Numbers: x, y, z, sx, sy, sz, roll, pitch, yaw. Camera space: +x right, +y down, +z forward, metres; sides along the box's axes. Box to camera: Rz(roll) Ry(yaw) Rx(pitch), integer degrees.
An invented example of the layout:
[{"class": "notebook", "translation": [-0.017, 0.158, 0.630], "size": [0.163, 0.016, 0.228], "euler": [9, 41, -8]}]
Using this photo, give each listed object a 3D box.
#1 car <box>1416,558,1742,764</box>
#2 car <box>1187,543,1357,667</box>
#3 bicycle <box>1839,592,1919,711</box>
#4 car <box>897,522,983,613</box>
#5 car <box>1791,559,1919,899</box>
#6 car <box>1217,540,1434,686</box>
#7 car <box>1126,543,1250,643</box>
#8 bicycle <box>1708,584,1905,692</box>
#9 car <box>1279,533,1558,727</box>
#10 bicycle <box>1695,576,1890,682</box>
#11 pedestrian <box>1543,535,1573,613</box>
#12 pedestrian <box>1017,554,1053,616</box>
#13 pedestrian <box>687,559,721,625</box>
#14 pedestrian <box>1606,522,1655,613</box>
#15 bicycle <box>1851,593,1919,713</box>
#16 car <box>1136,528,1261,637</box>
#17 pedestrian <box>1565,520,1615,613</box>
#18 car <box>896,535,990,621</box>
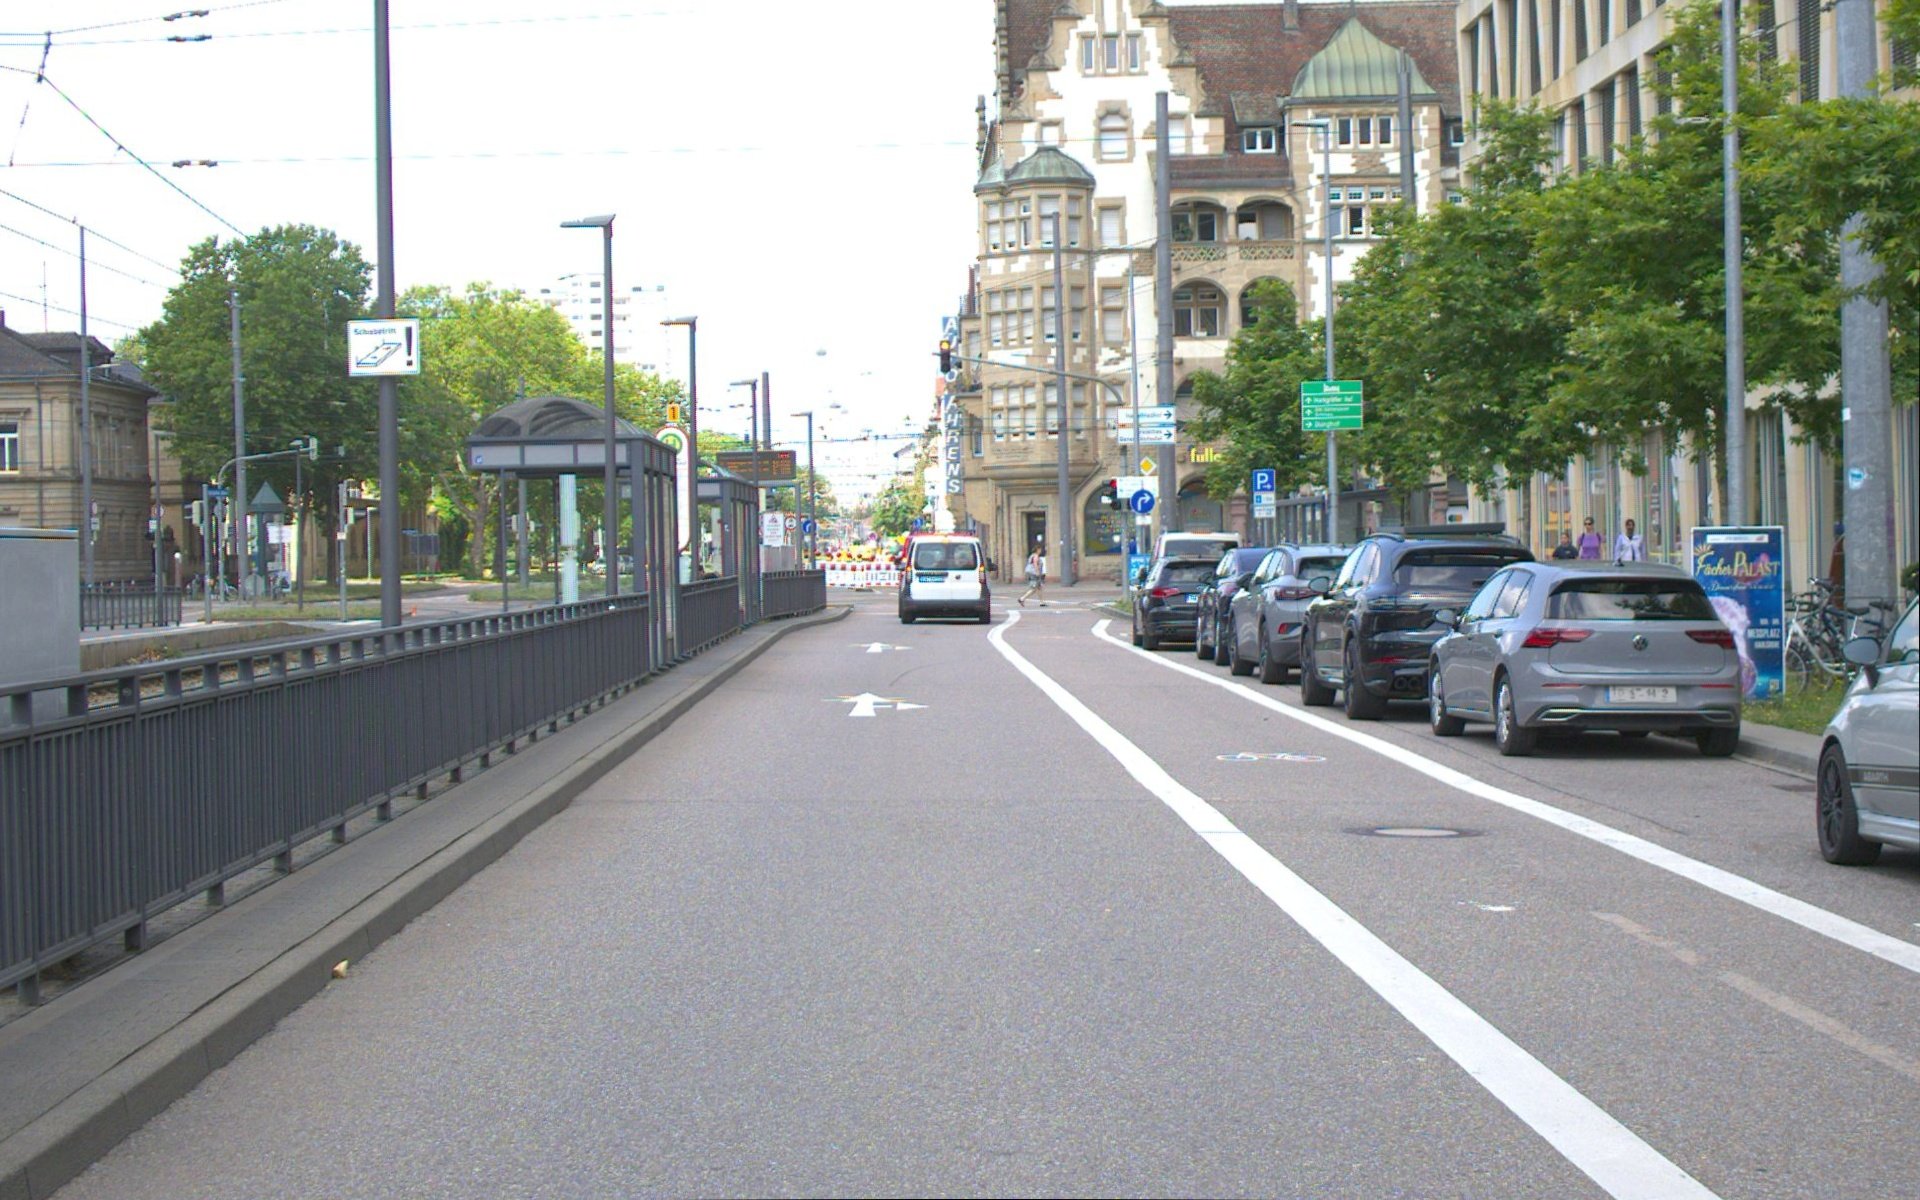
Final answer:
[{"class": "car", "translation": [4.701, 0.410, 26.651], "size": [1.591, 1.429, 4.108], "euler": [1, 1, -3]}, {"class": "car", "translation": [4.227, 0.030, 47.169], "size": [1.807, 1.586, 4.306], "euler": [1, 1, -2]}, {"class": "bicycle", "translation": [8.421, 0.417, 29.281], "size": [1.752, 0.983, 0.326], "euler": [-2, 1, -1]}, {"class": "car", "translation": [-0.486, -0.749, 77.943], "size": [1.868, 2.013, 4.000], "euler": [0, 1, -1]}, {"class": "car", "translation": [4.983, 0.564, 15.532], "size": [1.591, 1.455, 3.613], "euler": [0, 1, 0]}, {"class": "car", "translation": [4.231, 0.102, 40.525], "size": [1.807, 1.586, 4.841], "euler": [1, 1, -3]}, {"class": "car", "translation": [3.486, -0.140, 53.093], "size": [1.443, 1.465, 4.093], "euler": [1, 1, -3]}, {"class": "bicycle", "translation": [8.388, 0.375, 34.090], "size": [1.824, 1.027, 0.432], "euler": [-1, 1, 3]}, {"class": "car", "translation": [4.205, 0.216, 32.245], "size": [1.738, 1.664, 4.841], "euler": [1, 1, -3]}, {"class": "bicycle", "translation": [8.435, 0.288, 34.886], "size": [1.824, 1.027, 0.584], "euler": [-1, 1, 3]}, {"class": "pedestrian", "translation": [11.189, -0.486, 64.313], "size": [0.438, 1.443, 0.434], "euler": [-1, 1, -1]}, {"class": "pedestrian", "translation": [1.925, -0.388, 88.643], "size": [0.805, 1.567, 0.629], "euler": [-3, 1, -2]}, {"class": "pedestrian", "translation": [-4.563, -0.149, 61.245], "size": [0.513, 1.136, 0.501], "euler": [-3, 1, -1]}, {"class": "pedestrian", "translation": [12.557, -0.611, 64.393], "size": [0.760, 1.664, 0.659], "euler": [-1, 1, -1]}, {"class": "bicycle", "translation": [8.431, 0.421, 28.933], "size": [1.752, 0.983, 0.326], "euler": [-2, 1, -1]}, {"class": "car", "translation": [4.004, -0.321, 58.237], "size": [1.709, 1.790, 3.362], "euler": [1, 1, -3]}, {"class": "pedestrian", "translation": [11.794, -0.631, 64.374], "size": [0.760, 1.718, 0.659], "euler": [-1, 1, -1]}, {"class": "car", "translation": [-0.371, -0.481, 71.334], "size": [1.868, 1.740, 4.000], "euler": [0, 1, -1]}]
